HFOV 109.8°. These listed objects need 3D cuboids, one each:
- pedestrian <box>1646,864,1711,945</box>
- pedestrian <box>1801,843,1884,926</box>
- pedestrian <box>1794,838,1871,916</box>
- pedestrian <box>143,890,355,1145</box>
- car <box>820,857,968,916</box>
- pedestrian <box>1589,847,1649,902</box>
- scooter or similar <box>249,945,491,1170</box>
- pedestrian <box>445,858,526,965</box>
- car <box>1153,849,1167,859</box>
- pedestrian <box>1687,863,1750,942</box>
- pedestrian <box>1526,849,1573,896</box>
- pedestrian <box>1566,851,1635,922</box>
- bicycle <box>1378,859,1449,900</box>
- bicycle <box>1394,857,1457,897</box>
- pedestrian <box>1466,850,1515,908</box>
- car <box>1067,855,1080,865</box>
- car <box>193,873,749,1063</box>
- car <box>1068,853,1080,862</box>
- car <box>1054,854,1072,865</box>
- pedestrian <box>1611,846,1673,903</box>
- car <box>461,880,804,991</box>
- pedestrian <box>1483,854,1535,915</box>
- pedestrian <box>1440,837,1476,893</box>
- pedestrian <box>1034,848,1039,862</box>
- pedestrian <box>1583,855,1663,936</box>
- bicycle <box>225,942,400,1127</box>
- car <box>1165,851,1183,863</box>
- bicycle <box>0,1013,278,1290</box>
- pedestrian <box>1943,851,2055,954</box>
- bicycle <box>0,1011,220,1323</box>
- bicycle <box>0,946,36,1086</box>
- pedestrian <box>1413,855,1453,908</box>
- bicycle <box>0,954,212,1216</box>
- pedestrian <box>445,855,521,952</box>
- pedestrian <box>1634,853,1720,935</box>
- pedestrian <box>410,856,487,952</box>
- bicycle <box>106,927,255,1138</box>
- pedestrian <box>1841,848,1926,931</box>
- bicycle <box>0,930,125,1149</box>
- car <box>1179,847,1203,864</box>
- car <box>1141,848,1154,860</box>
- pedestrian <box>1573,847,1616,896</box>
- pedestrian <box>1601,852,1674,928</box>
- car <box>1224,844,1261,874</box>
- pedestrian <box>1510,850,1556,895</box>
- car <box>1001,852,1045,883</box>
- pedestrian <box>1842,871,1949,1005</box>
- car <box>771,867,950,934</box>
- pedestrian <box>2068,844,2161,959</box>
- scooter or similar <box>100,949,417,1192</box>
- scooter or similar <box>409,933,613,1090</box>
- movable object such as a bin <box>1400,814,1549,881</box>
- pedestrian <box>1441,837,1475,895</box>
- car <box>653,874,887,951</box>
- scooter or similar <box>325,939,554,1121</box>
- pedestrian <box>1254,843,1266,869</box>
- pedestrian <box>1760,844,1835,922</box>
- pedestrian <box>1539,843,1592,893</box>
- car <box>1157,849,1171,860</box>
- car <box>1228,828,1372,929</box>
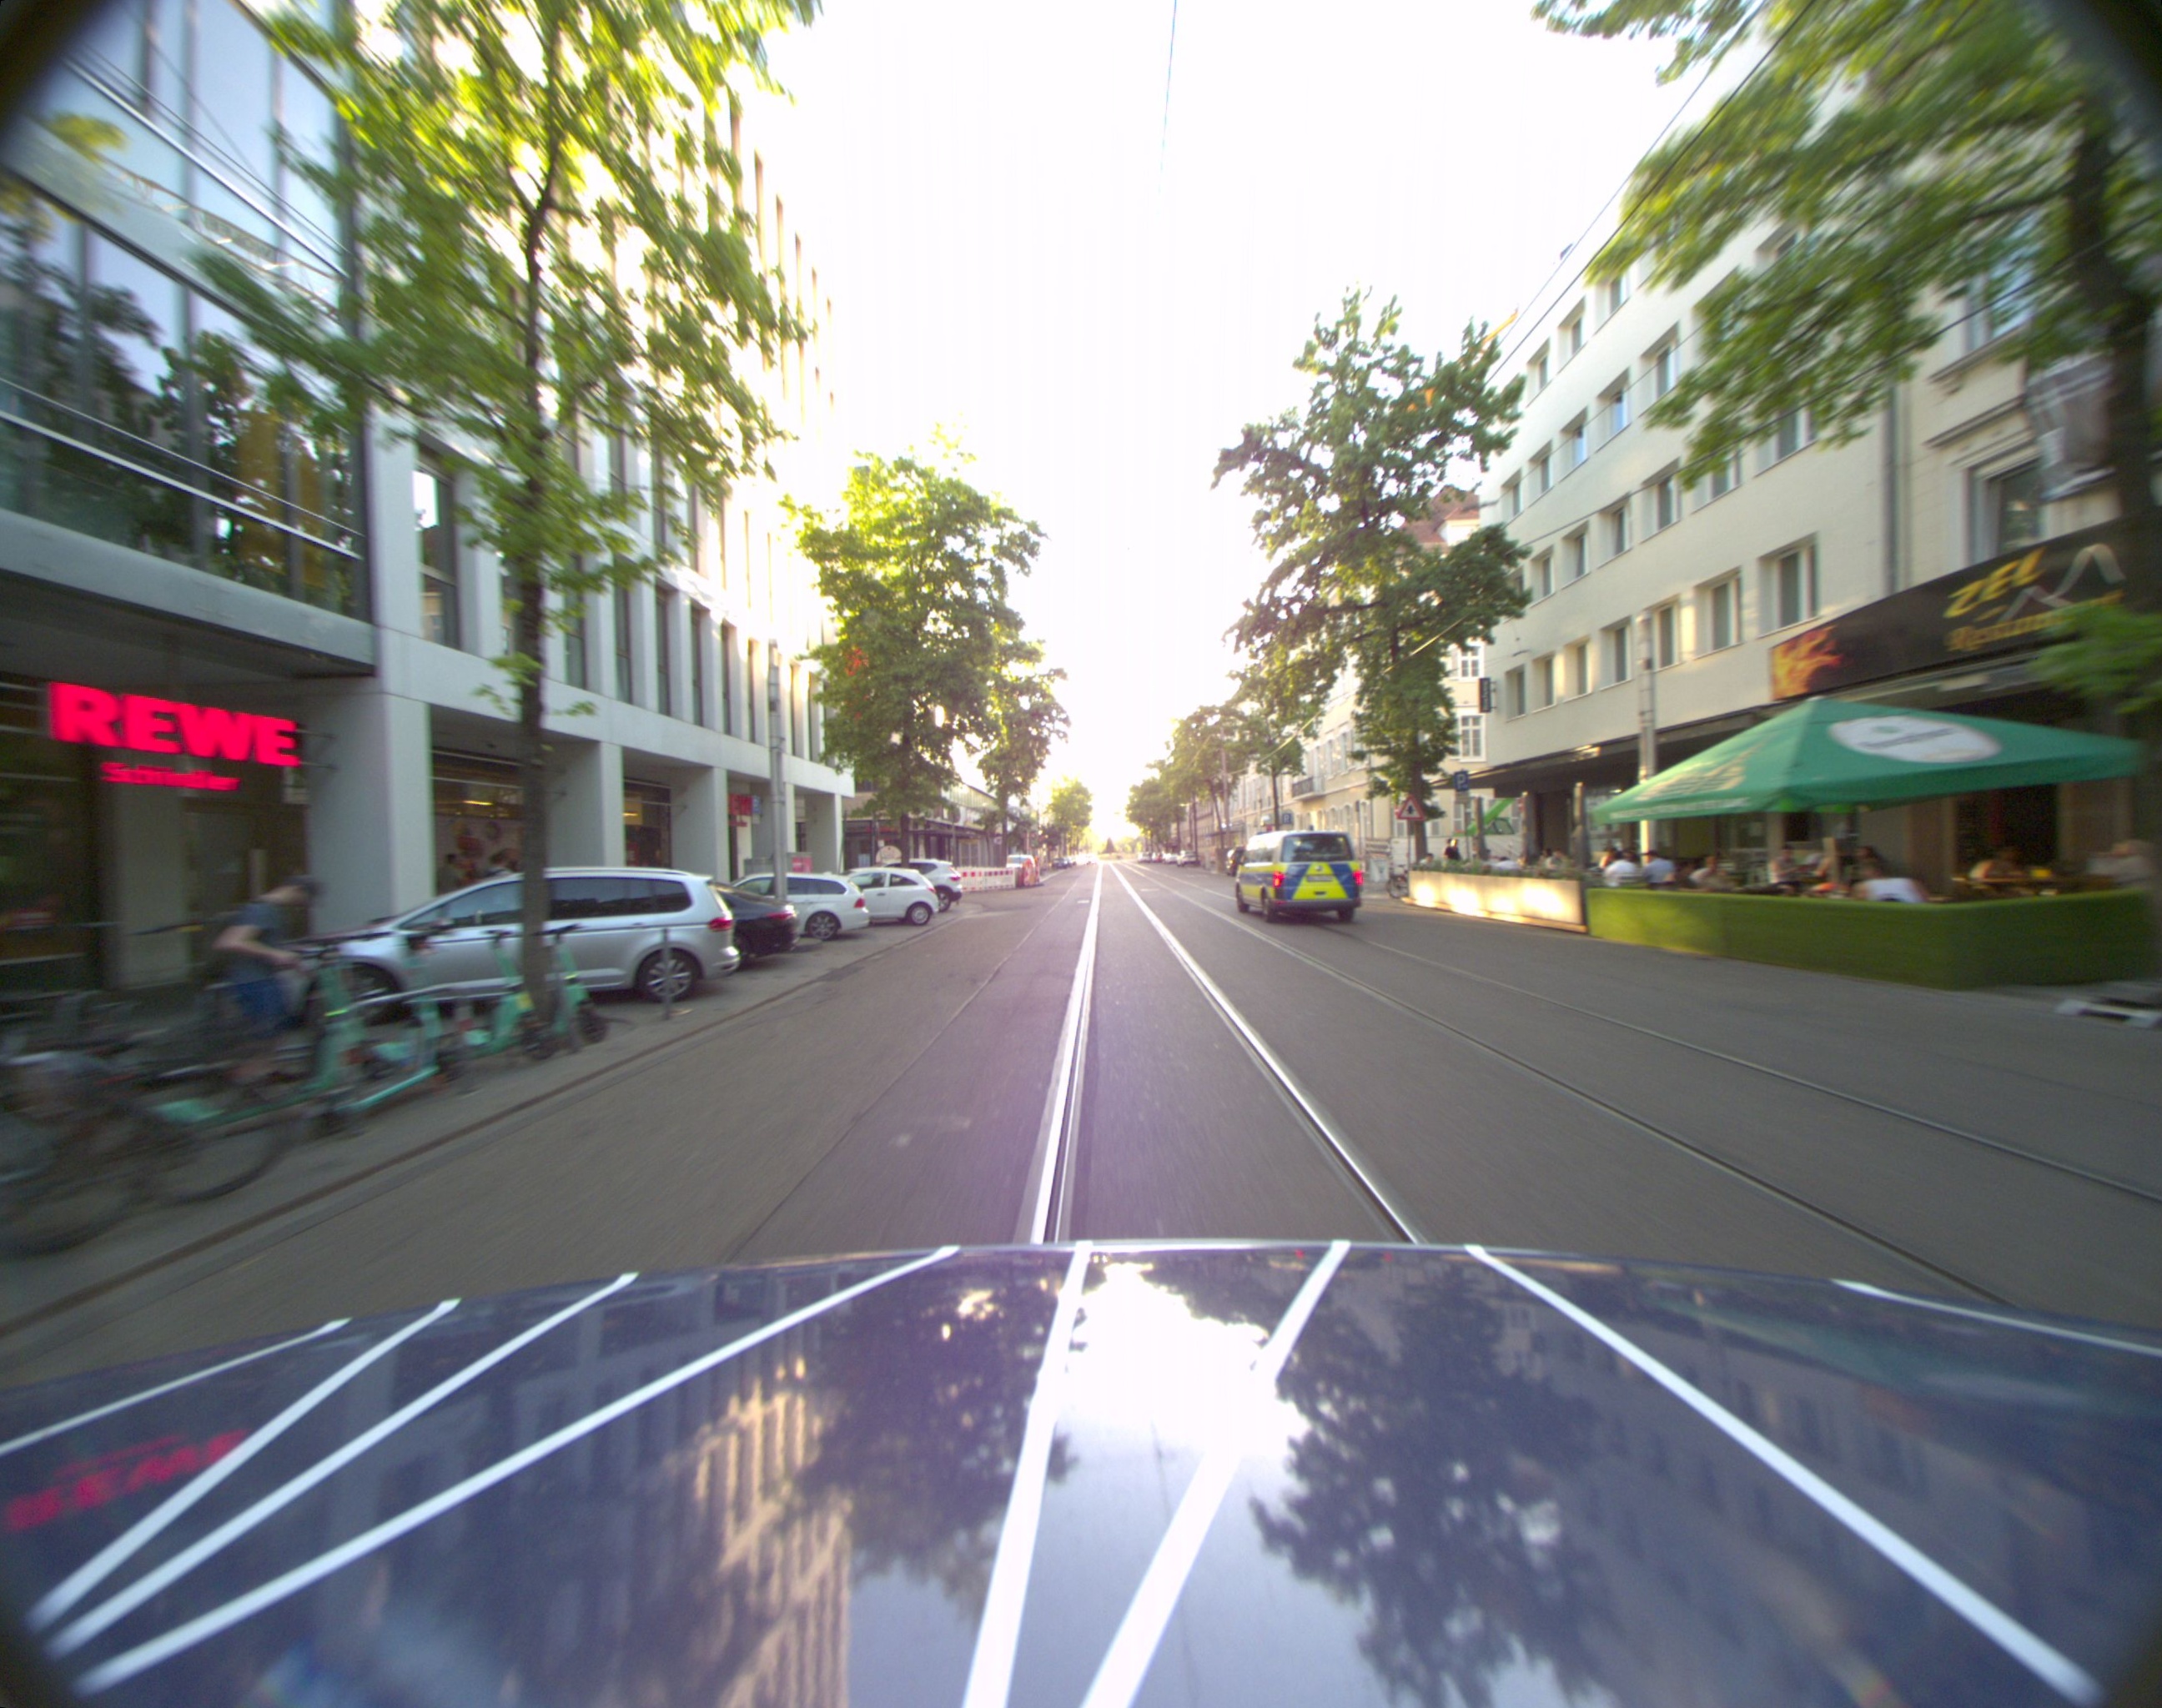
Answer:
[{"bbox_3d":[9.543,0.792,12.156,0.587,1.228,0.544,-2,1,4],"label":"pedestrian"},{"bbox_3d":[13.076,0.505,13.066,0.656,1.370,0.765,-2,1,2],"label":"pedestrian"},{"bbox_3d":[13.818,0.401,13.989,0.656,1.370,0.765,-2,1,2],"label":"pedestrian"},{"bbox_3d":[-5.913,1.085,5.430,0.790,1.616,0.770,0,1,20],"label":"pedestrian"},{"bbox_3d":[-5.902,0.979,23.980,4.278,1.662,1.948,0,1,-23],"label":"car"},{"bbox_3d":[13.531,0.509,19.121,0.887,1.312,0.882,-2,1,5],"label":"pedestrian"},{"bbox_3d":[-4.812,1.316,5.245,0.483,1.215,1.214,0,1,3],"label":"scooter or similar"},{"bbox_3d":[-10.168,0.961,13.005,0.681,1.760,0.806,-2,-1,1],"label":"pedestrian"},{"bbox_3d":[13.098,0.016,126.332,1.998,1.540,4.106,-2,0,4],"label":"car"},{"bbox_3d":[10.157,0.765,12.116,0.544,1.211,0.511,-2,1,4],"label":"pedestrian"},{"bbox_3d":[13.510,0.523,21.939,0.849,1.312,0.882,-2,1,6],"label":"pedestrian"},{"bbox_3d":[10.560,0.638,15.467,0.717,1.354,1.012,-2,1,4],"label":"pedestrian"},{"bbox_3d":[10.052,0.775,23.016,1.865,1.132,0.626,-2,1,-1],"label":"bicycle"},{"bbox_3d":[10.832,0.692,23.874,1.869,1.132,0.779,-3,2,-26],"label":"bicycle"},{"bbox_3d":[10.126,0.598,18.803,0.717,1.354,0.924,-2,1,4],"label":"pedestrian"},{"bbox_3d":[-0.990,0.755,101.592,1.738,1.311,4.105,0,0,1],"label":"car"},{"bbox_3d":[-6.645,1.087,9.011,4.684,1.630,1.950,0,1,-34],"label":"car"},{"bbox_3d":[-1.129,0.548,123.939,1.686,1.471,3.846,-2,0,1],"label":"car"},{"bbox_3d":[-2.124,0.657,91.678,2.002,1.354,4.105,0,0,2],"label":"car"},{"bbox_3d":[13.428,0.478,18.216,0.849,1.312,0.882,-2,1,6],"label":"pedestrian"},{"bbox_3d":[-6.690,1.164,11.959,4.354,1.414,1.951,1,1,-20],"label":"car"},{"bbox_3d":[9.931,0.693,17.647,0.717,1.354,0.872,-2,1,4],"label":"pedestrian"},{"bbox_3d":[11.867,0.338,23.929,0.782,1.731,0.640,-3,2,-29],"label":"pedestrian"},{"bbox_3d":[-5.022,0.156,86.177,0.477,1.547,0.748,-1,2,2],"label":"pedestrian"},{"bbox_3d":[9.665,0.709,13.578,0.717,1.354,1.012,-2,1,4],"label":"pedestrian"},{"bbox_3d":[-6.148,1.357,6.188,0.632,1.070,1.875,0,-1,-34],"label":"bicycle"},{"bbox_3d":[12.233,0.345,100.239,1.998,1.494,4.105,-2,0,2],"label":"car"},{"bbox_3d":[-5.021,1.391,3.498,1.751,1.070,0.493,0,0,-28],"label":"bicycle"},{"bbox_3d":[12.899,0.658,10.700,0.656,1.370,0.765,-2,1,2],"label":"pedestrian"},{"bbox_3d":[-5.121,1.354,3.110,1.997,1.123,0.679,1,0,-28],"label":"bicycle"},{"bbox_3d":[-9.239,1.325,5.496,0.572,1.077,1.886,0,1,24],"label":"bicycle"},{"bbox_3d":[9.551,0.726,20.630,0.694,1.369,0.793,-2,1,4],"label":"pedestrian"},{"bbox_3d":[-6.167,1.239,4.116,1.834,1.266,0.680,0,0,-17],"label":"bicycle"},{"bbox_3d":[-10.815,0.879,13.766,0.681,1.689,0.806,-2,-1,1],"label":"pedestrian"},{"bbox_3d":[10.462,0.679,13.369,0.717,1.354,1.012,-2,1,4],"label":"pedestrian"},{"bbox_3d":[-11.624,0.909,13.982,0.681,1.689,0.806,-2,-1,1],"label":"pedestrian"},{"bbox_3d":[-6.794,1.238,5.710,1.657,1.242,0.642,0,0,38],"label":"bicycle"},{"bbox_3d":[13.779,0.590,13.065,0.656,1.370,0.765,-2,1,2],"label":"pedestrian"},{"bbox_3d":[-7.457,1.260,5.504,1.590,1.281,0.581,0,0,41],"label":"bicycle"},{"bbox_3d":[11.798,0.190,81.740,1.998,1.727,4.105,-2,0,2],"label":"car"},{"bbox_3d":[10.680,-0.039,121.932,1.998,1.727,4.106,-2,0,4],"label":"car"},{"bbox_3d":[14.161,0.468,20.958,0.623,1.312,0.842,-2,1,5],"label":"pedestrian"},{"bbox_3d":[10.525,0.659,14.400,0.717,1.354,0.924,-2,1,4],"label":"pedestrian"},{"bbox_3d":[10.500,0.329,49.611,1.771,1.754,3.879,-4,0,5],"label":"car"},{"bbox_3d":[13.633,0.546,22.948,0.887,1.312,0.882,-2,1,5],"label":"pedestrian"},{"bbox_3d":[-3.504,0.775,46.720,1.998,1.761,4.671,1,0,4],"label":"car"},{"bbox_3d":[8.870,0.893,8.290,0.548,1.370,0.565,-2,2,2],"label":"pedestrian"},{"bbox_3d":[-5.578,1.105,19.270,4.074,1.493,1.791,0,1,-28],"label":"car"},{"bbox_3d":[13.334,0.578,9.626,0.656,1.370,0.765,-2,1,2],"label":"pedestrian"},{"bbox_3d":[-5.267,1.310,4.971,0.569,1.198,1.283,0,0,16],"label":"scooter or similar"},{"bbox_3d":[-5.151,1.361,6.922,1.404,1.143,0.578,-1,0,-45],"label":"scooter or similar"},{"bbox_3d":[18.147,-0.318,35.313,5.561,2.856,2.643,-1,1,0],"label":"movable object such as a bin"},{"bbox_3d":[11.548,0.363,23.249,0.783,1.731,0.640,-4,2,-40],"label":"pedestrian"},{"bbox_3d":[-6.462,1.167,16.143,4.355,1.414,1.825,1,0,-21],"label":"car"},{"bbox_3d":[-5.056,1.340,6.089,1.335,1.175,0.497,-1,0,-36],"label":"scooter or similar"},{"bbox_3d":[13.596,0.143,57.675,0.679,1.874,0.769,-4,1,3],"label":"pedestrian"},{"bbox_3d":[13.138,0.508,13.952,0.656,1.370,0.765,-2,1,2],"label":"pedestrian"},{"bbox_3d":[13.378,0.377,21.001,0.887,1.312,0.882,-2,1,5],"label":"pedestrian"},{"bbox_3d":[13.101,0.035,120.331,1.998,1.567,4.106,-2,0,4],"label":"car"},{"bbox_3d":[4.867,0.488,17.663,1.998,1.965,4.850,-2,0,1],"label":"car"}]
